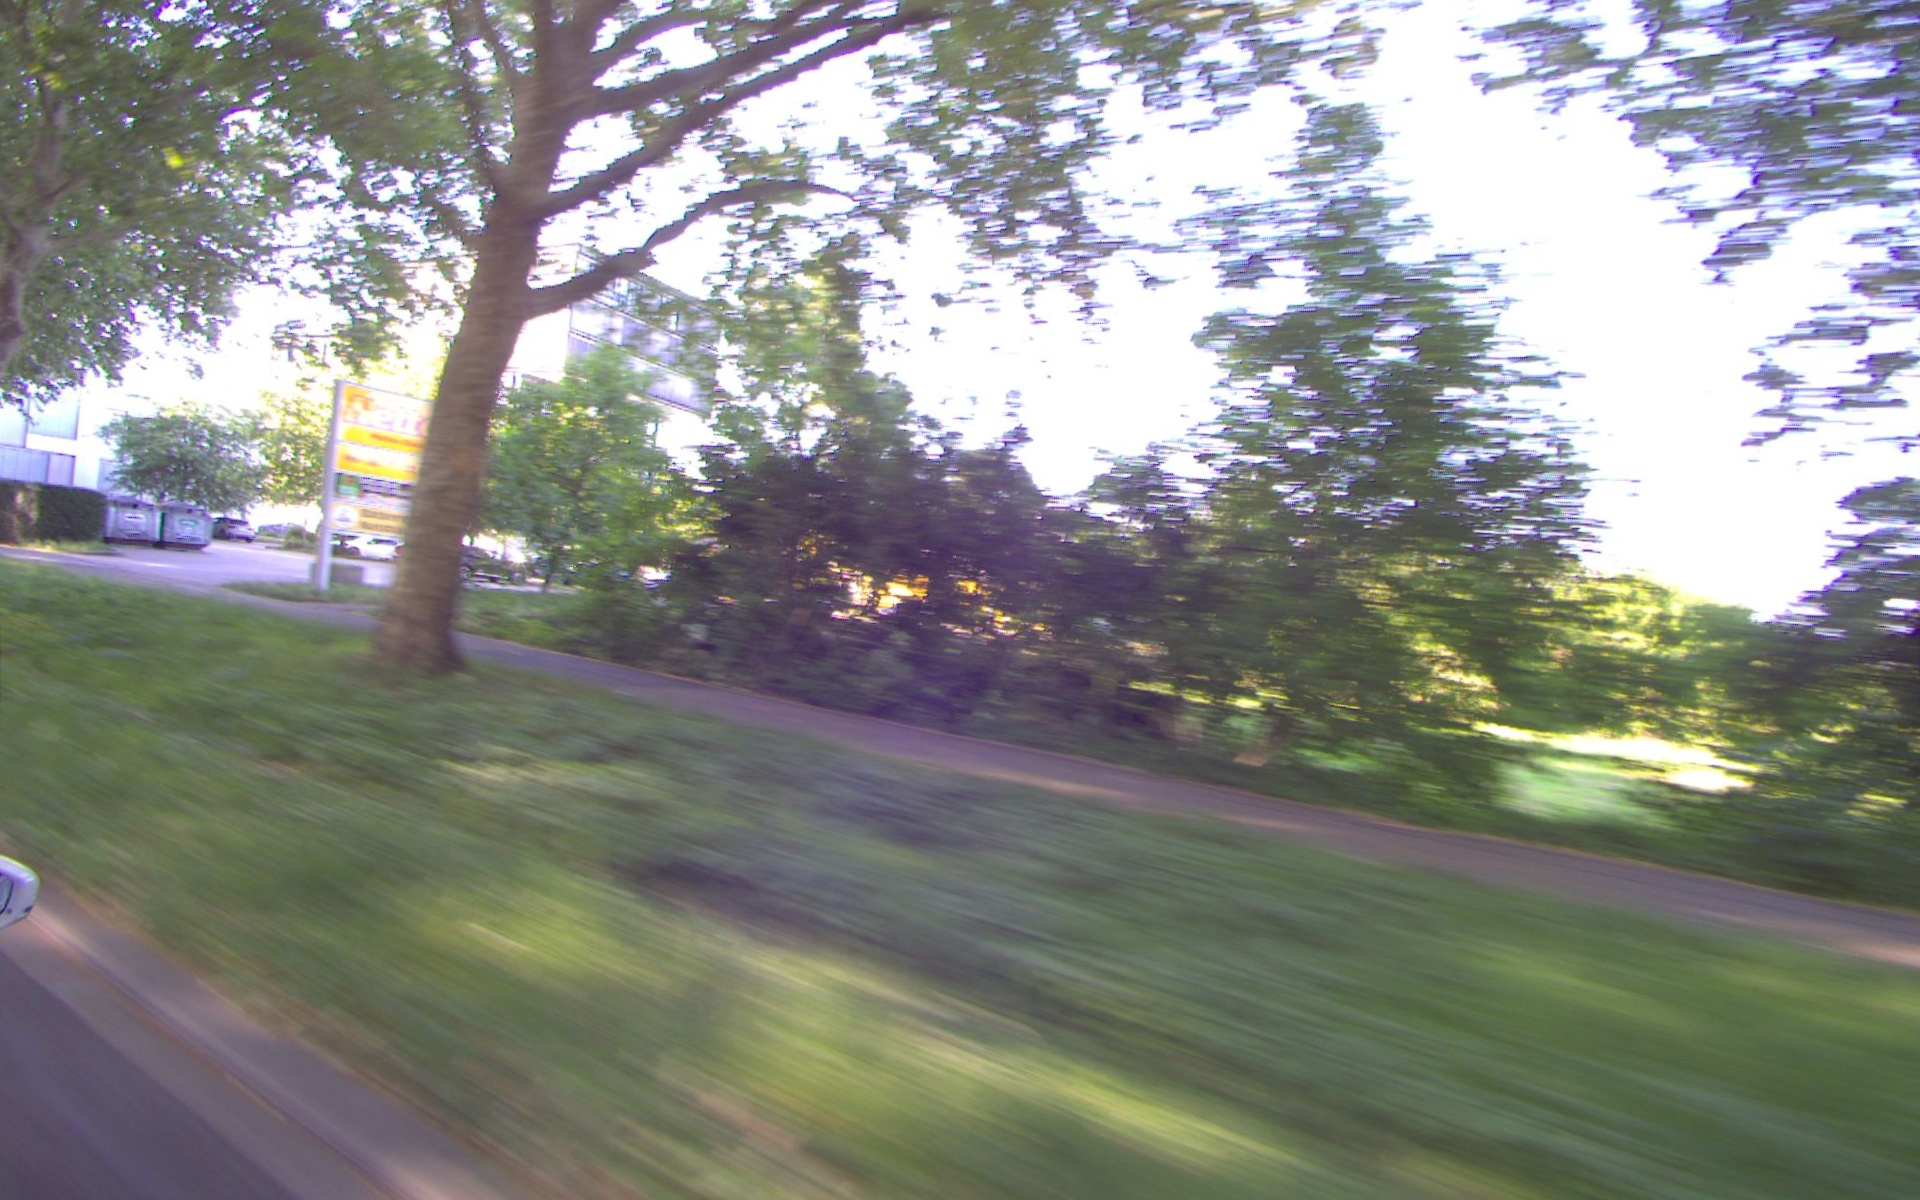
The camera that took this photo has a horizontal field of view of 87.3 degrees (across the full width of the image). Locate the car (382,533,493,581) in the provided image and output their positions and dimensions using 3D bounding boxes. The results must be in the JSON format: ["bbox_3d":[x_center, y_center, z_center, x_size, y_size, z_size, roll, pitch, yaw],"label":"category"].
[{"bbox_3d":[-23.461,-1.905,45.297,1.831,1.585,3.997,7,-1,27],"label":"car"}]

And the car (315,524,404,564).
[{"bbox_3d":[-35.773,-3.309,59.994,1.968,1.794,3.989,7,0,34],"label":"car"}]

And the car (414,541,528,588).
[{"bbox_3d":[-20.845,-1.481,43.049,1.831,1.459,3.996,7,0,27],"label":"car"}]
